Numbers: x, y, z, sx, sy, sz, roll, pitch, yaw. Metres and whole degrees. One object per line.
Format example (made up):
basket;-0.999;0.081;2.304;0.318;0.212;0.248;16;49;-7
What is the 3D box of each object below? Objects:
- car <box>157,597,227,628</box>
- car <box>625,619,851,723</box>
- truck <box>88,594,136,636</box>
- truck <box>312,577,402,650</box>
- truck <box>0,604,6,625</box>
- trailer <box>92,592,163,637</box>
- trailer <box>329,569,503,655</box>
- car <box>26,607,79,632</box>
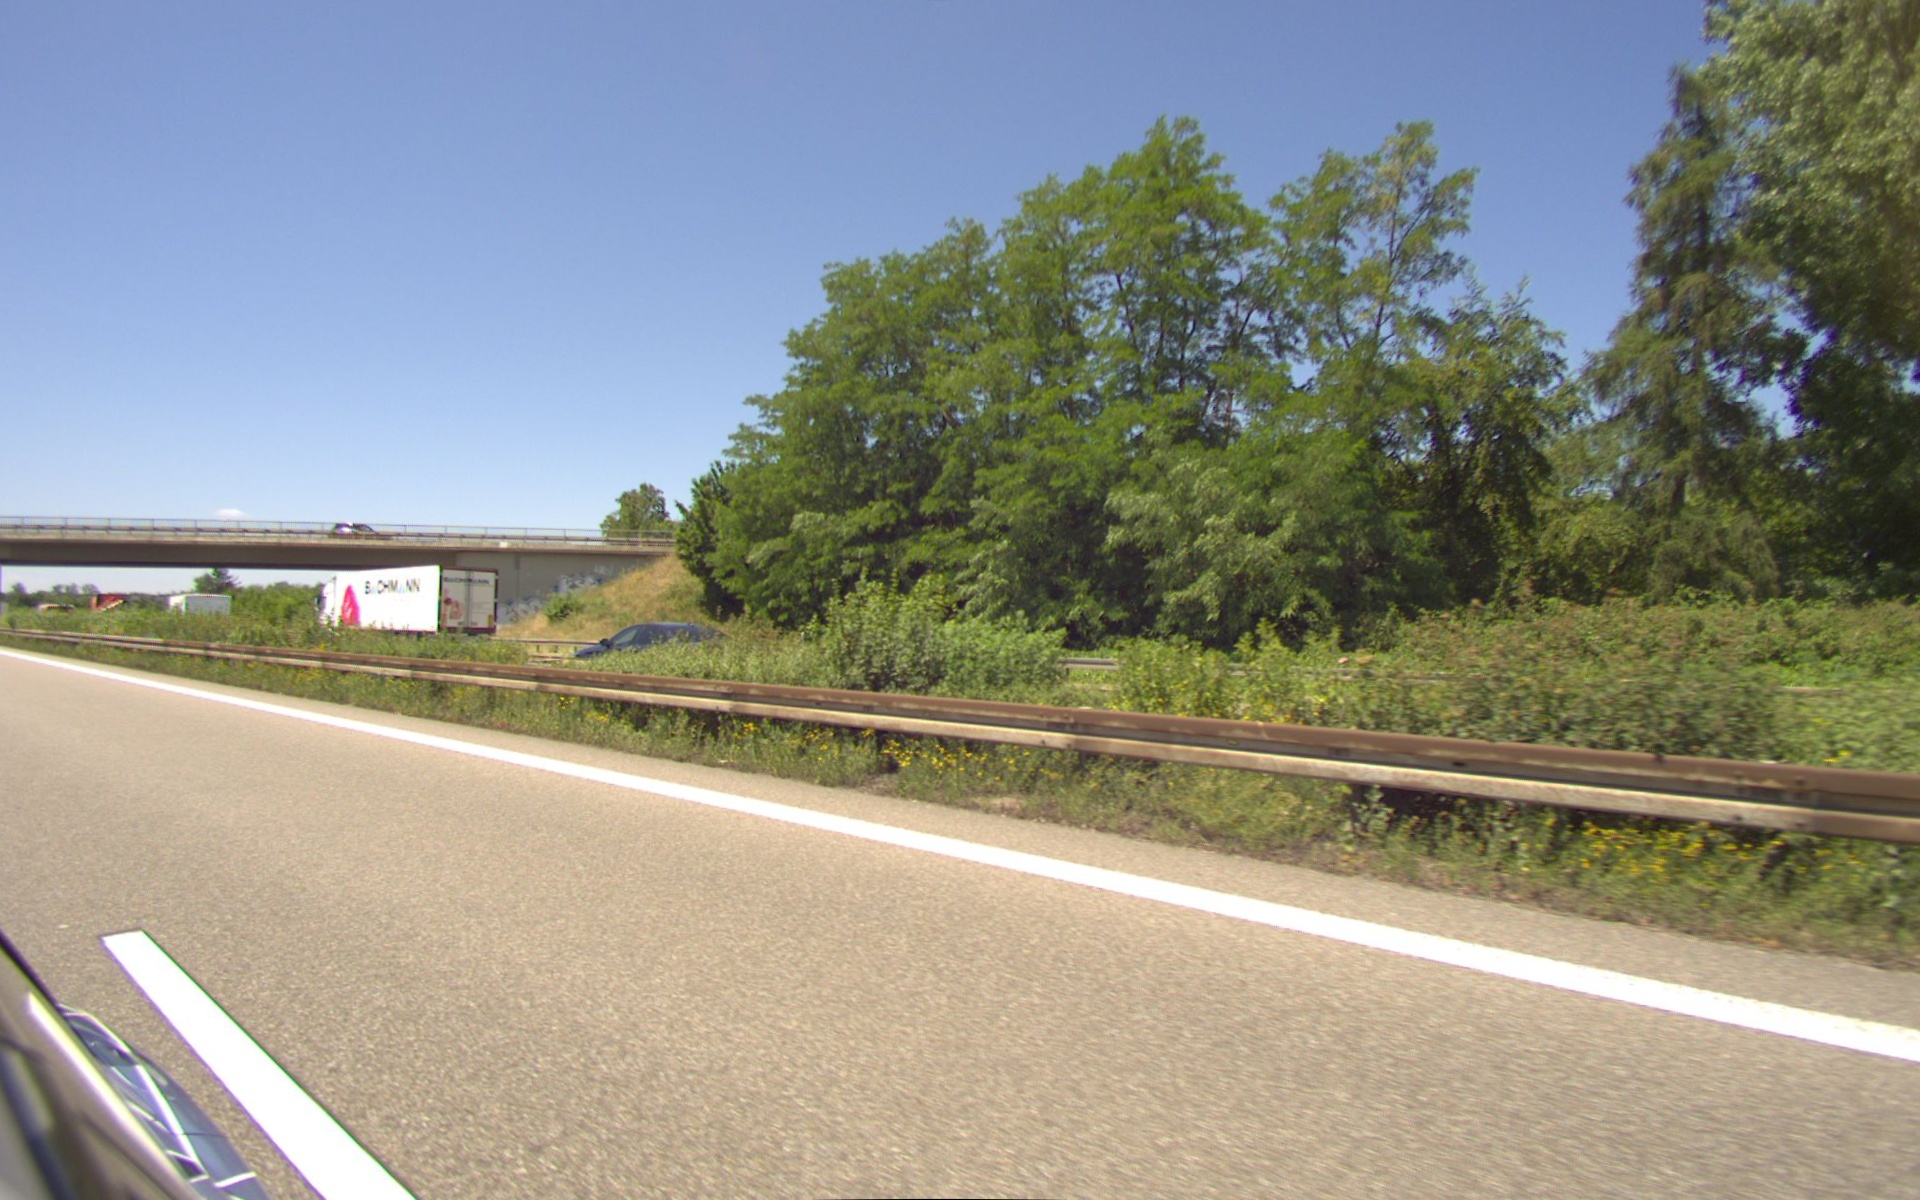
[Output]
car;-46.863;0.765;61.724;5.420;1.794;2.278;-1;0;41
car;-4.188;1.212;18.789;4.211;1.659;1.953;-1;0;41
truck;-82.620;1.497;98.587;6.496;3.927;2.585;-1;0;41
truck;-32.638;0.697;54.716;5.115;3.749;2.766;-1;0;42
truck;-163.472;2.482;170.733;10.733;3.524;2.847;-1;0;42
trailer;-77.676;1.382;94.253;15.574;3.913;2.585;-1;0;41
trailer;-27.058;0.597;49.782;13.921;3.738;2.796;-1;0;41
car;-67.990;1.457;75.786;5.455;1.794;2.072;-1;0;39
